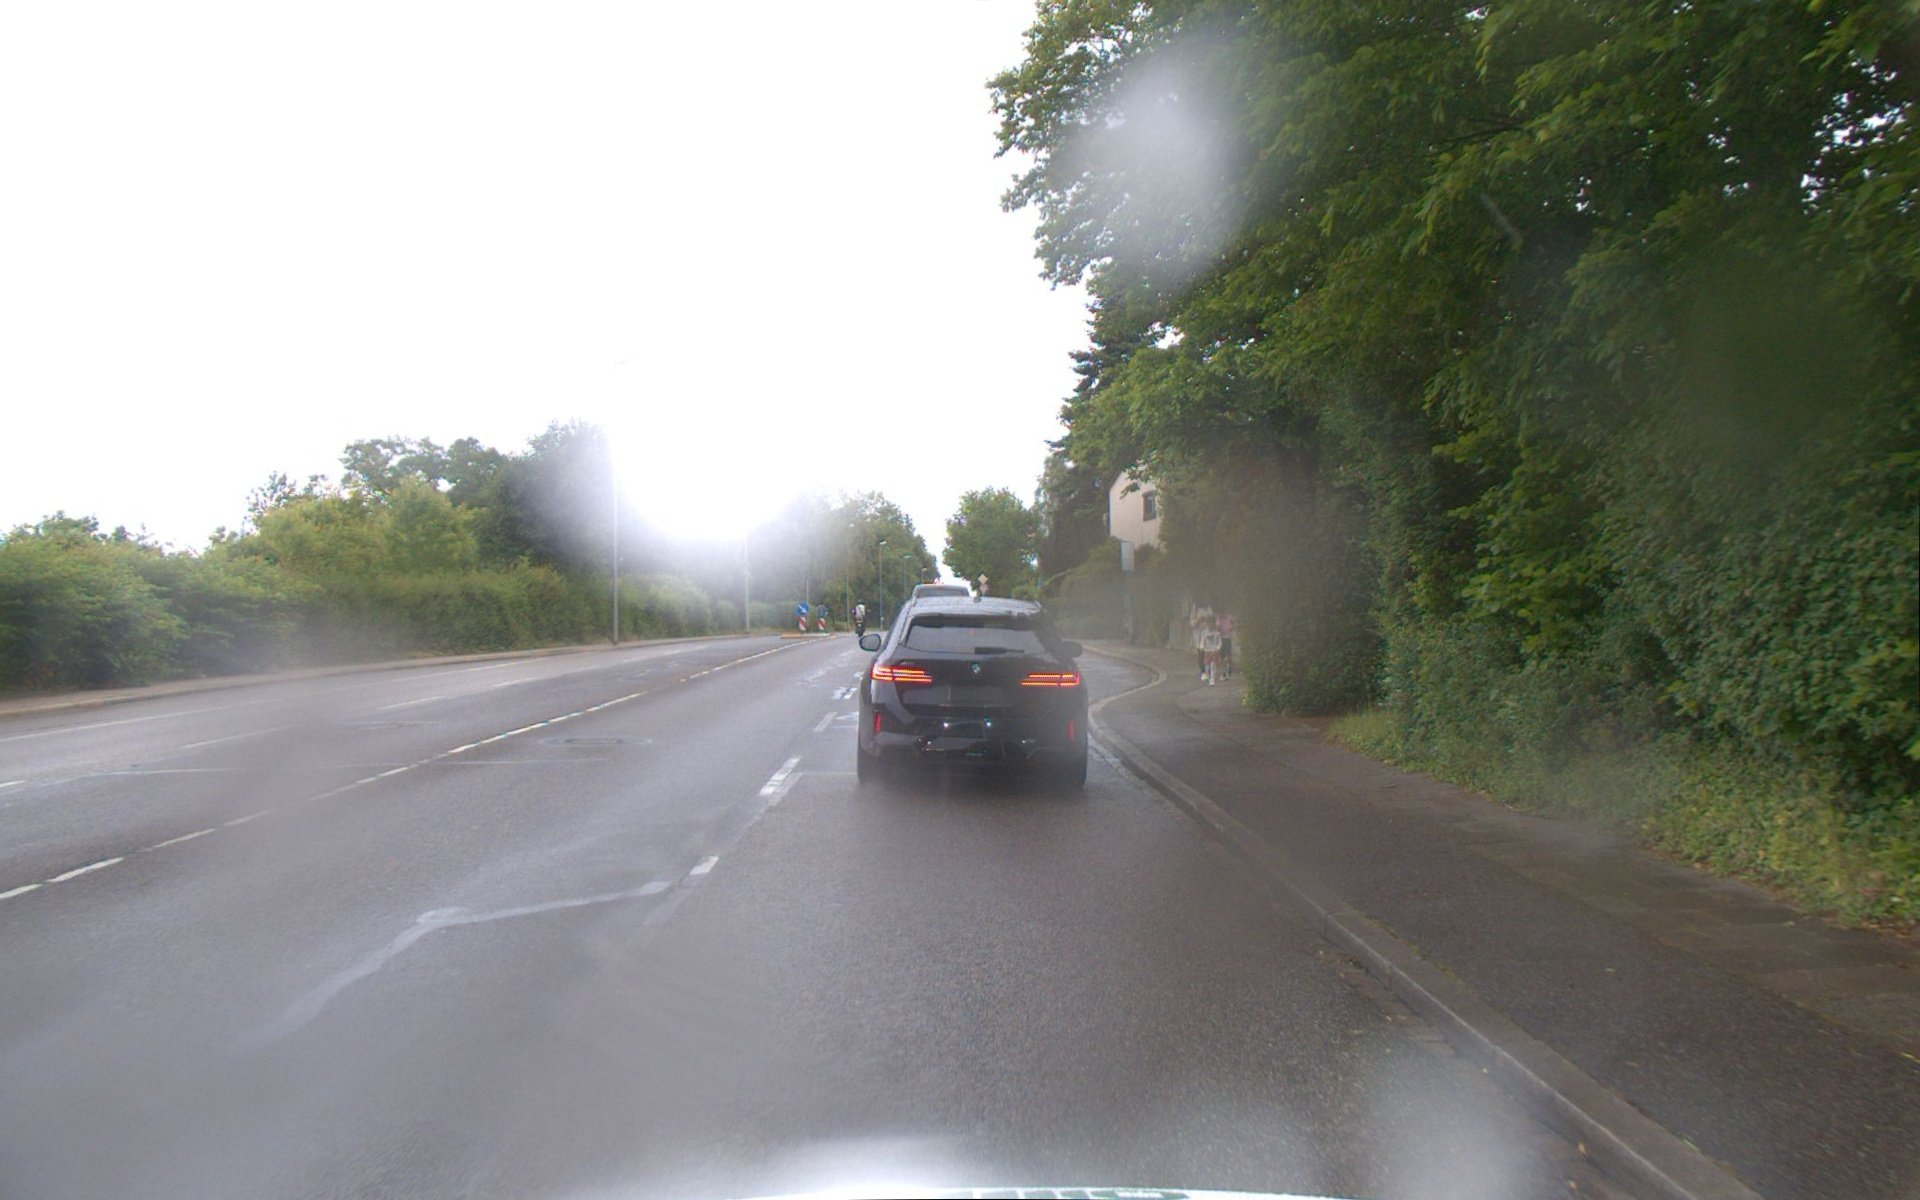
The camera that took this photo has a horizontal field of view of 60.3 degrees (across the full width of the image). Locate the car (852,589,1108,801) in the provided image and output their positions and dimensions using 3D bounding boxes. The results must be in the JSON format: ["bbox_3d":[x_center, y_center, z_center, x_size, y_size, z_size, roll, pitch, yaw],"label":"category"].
[{"bbox_3d":[0.159,0.720,14.274,1.858,1.515,4.000,2,0,0],"label":"car"}]

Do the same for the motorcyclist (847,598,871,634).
[{"bbox_3d":[-4.542,0.719,74.603,1.018,1.595,0.855,2,-1,-1],"label":"motorcyclist"}]

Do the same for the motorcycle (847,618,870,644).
[{"bbox_3d":[-4.575,1.402,74.602,0.858,1.144,2.740,2,-1,-1],"label":"motorcycle"}]

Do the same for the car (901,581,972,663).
[{"bbox_3d":[-0.565,0.507,40.072,1.596,1.865,3.999,-1,0,-1],"label":"car"}]

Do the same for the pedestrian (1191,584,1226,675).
[{"bbox_3d":[4.469,0.528,29.762,0.597,1.621,0.647,0,0,7],"label":"pedestrian"}]

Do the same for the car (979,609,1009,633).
[{"bbox_3d":[2.251,1.343,107.449,1.895,1.467,4.409,-1,0,2],"label":"car"}]

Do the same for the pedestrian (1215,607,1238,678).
[{"bbox_3d":[4.411,0.696,27.418,0.359,1.166,0.366,0,0,7],"label":"pedestrian"}]
